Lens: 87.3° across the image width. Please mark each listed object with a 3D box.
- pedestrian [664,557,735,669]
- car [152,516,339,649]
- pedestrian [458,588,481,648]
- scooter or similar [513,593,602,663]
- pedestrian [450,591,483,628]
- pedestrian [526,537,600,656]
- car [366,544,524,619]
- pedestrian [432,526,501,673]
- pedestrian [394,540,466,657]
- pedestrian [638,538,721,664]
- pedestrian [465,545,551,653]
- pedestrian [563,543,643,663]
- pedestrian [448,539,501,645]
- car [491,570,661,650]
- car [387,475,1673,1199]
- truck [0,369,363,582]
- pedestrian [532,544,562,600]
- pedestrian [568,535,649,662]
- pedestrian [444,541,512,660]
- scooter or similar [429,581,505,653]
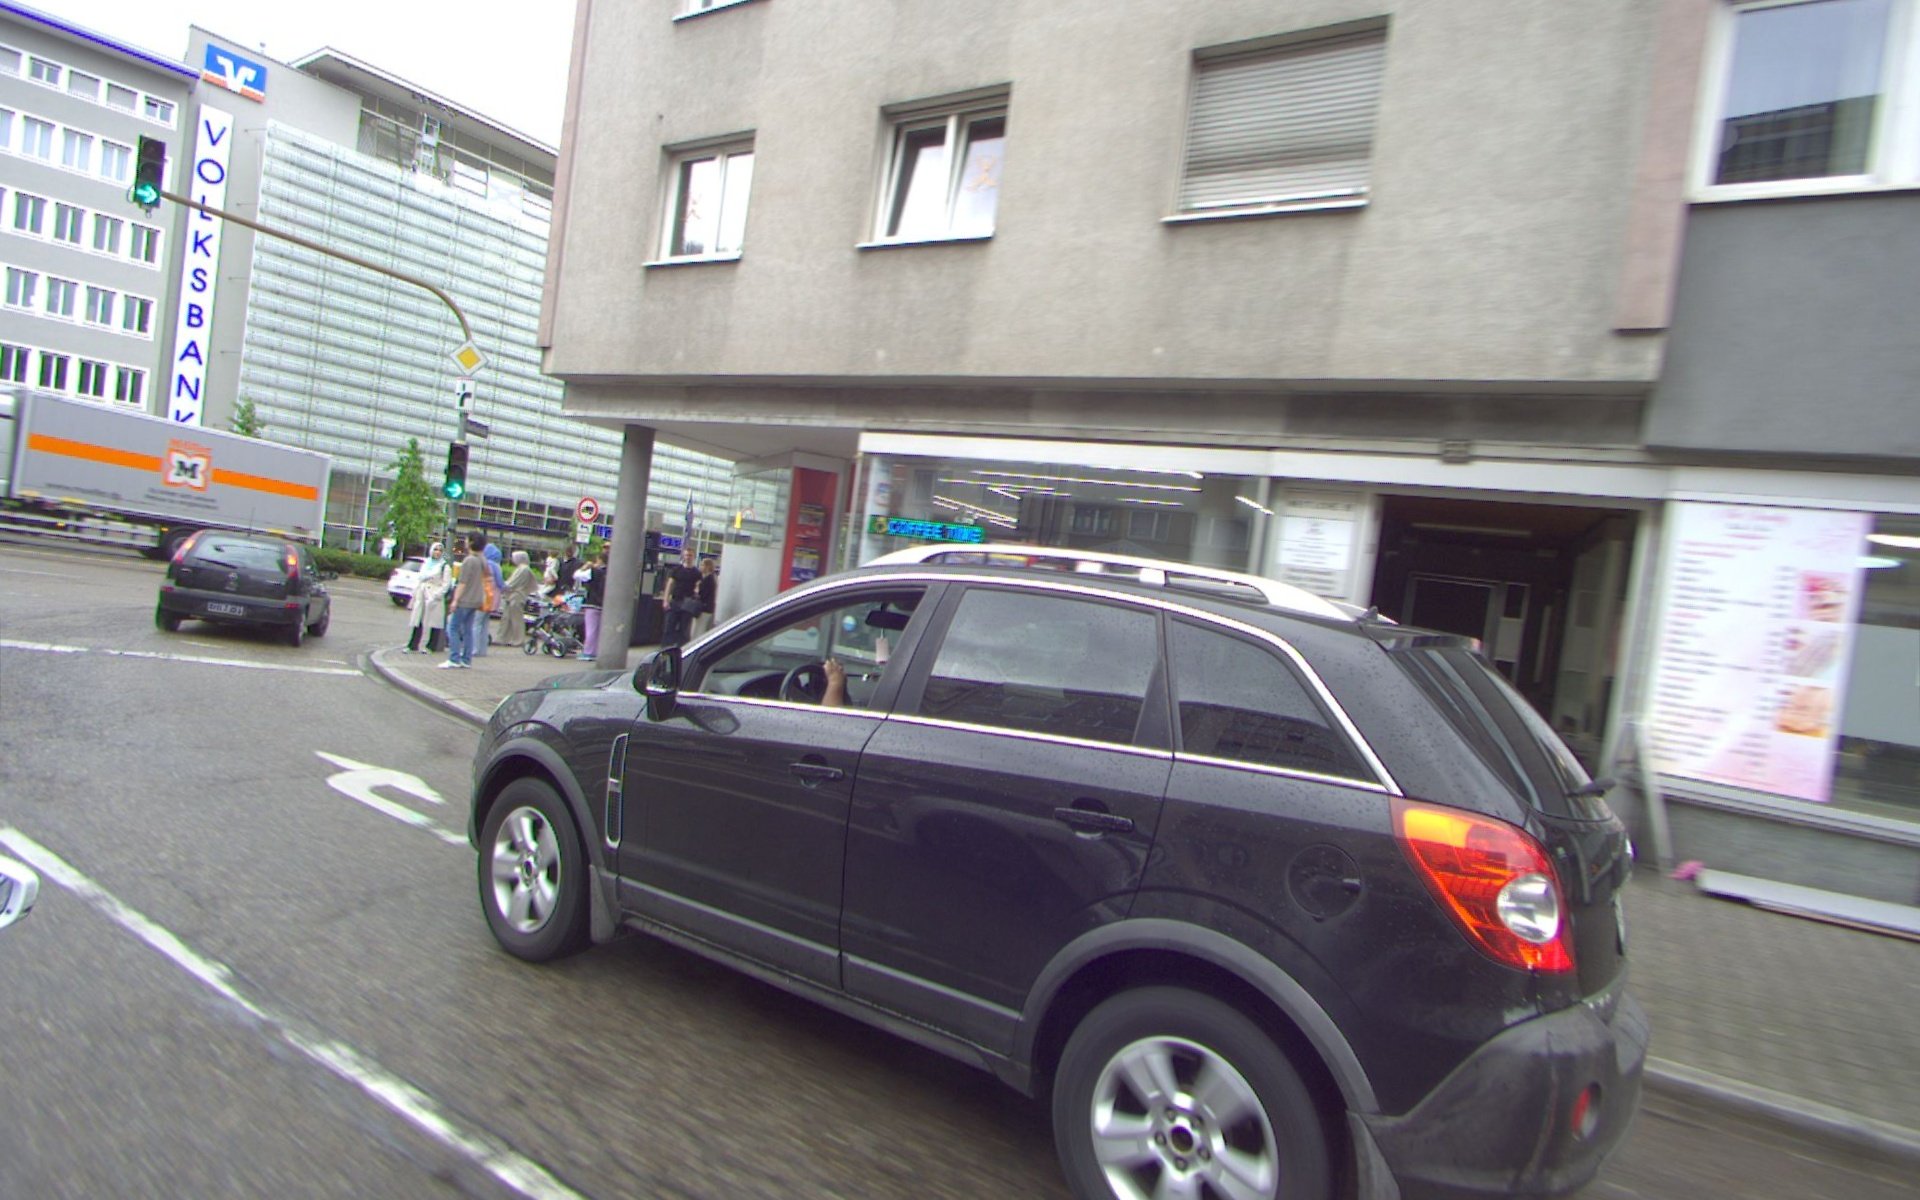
[{"bbox_3d":[-4.042,0.192,15.615,0.825,1.659,0.615,4,3,34],"label":"pedestrian"},{"bbox_3d":[-10.242,-0.234,14.696,1.706,1.435,3.743,11,-4,-30],"label":"car"},{"bbox_3d":[-8.593,0.312,17.627,0.259,1.013,0.467,1,4,-37],"label":"pedestrian"},{"bbox_3d":[-6.232,0.436,15.589,1.031,0.998,0.771,4,0,30],"label":"scooter or similar"},{"bbox_3d":[-8.383,0.161,17.092,0.369,0.578,0.453,4,2,-41],"label":"pedestrian"},{"bbox_3d":[-6.498,-0.049,16.477,0.648,1.889,0.835,3,1,34],"label":"pedestrian"},{"bbox_3d":[-14.674,-0.471,28.946,1.919,1.592,4.004,10,-1,8],"label":"car"},{"bbox_3d":[-6.105,-0.005,12.470,0.619,1.713,0.777,5,1,-24],"label":"pedestrian"},{"bbox_3d":[-7.770,-0.025,14.747,0.824,1.659,0.539,3,2,30],"label":"pedestrian"},{"bbox_3d":[-4.497,0.036,16.161,0.822,1.887,0.667,8,-1,10],"label":"pedestrian"},{"bbox_3d":[-7.860,-0.015,17.486,1.031,1.745,0.828,5,2,-43],"label":"pedestrian"},{"bbox_3d":[-5.409,0.053,15.251,0.608,1.744,0.835,4,0,38],"label":"pedestrian"},{"bbox_3d":[-8.914,-0.139,18.458,0.613,1.891,0.778,2,0,-44],"label":"pedestrian"},{"bbox_3d":[-10.354,0.325,27.455,1.921,1.592,4.001,9,-1,24],"label":"car"},{"bbox_3d":[-0.037,0.722,3.838,4.232,1.807,1.909,8,0,34],"label":"car"},{"bbox_3d":[-23.694,-3.441,28.877,2.810,4.384,10.749,8,-1,34],"label":"truck"},{"bbox_3d":[-6.659,-0.460,16.203,0.219,0.857,0.436,9,-1,-39],"label":"pedestrian"},{"bbox_3d":[-5.701,-0.017,16.333,0.721,1.955,0.817,6,1,38],"label":"pedestrian"},{"bbox_3d":[-7.005,0.020,14.647,0.734,1.655,0.594,3,0,-18],"label":"pedestrian"},{"bbox_3d":[-8.367,0.291,17.084,0.965,1.123,0.647,5,2,-41],"label":"scooter or similar"}]
